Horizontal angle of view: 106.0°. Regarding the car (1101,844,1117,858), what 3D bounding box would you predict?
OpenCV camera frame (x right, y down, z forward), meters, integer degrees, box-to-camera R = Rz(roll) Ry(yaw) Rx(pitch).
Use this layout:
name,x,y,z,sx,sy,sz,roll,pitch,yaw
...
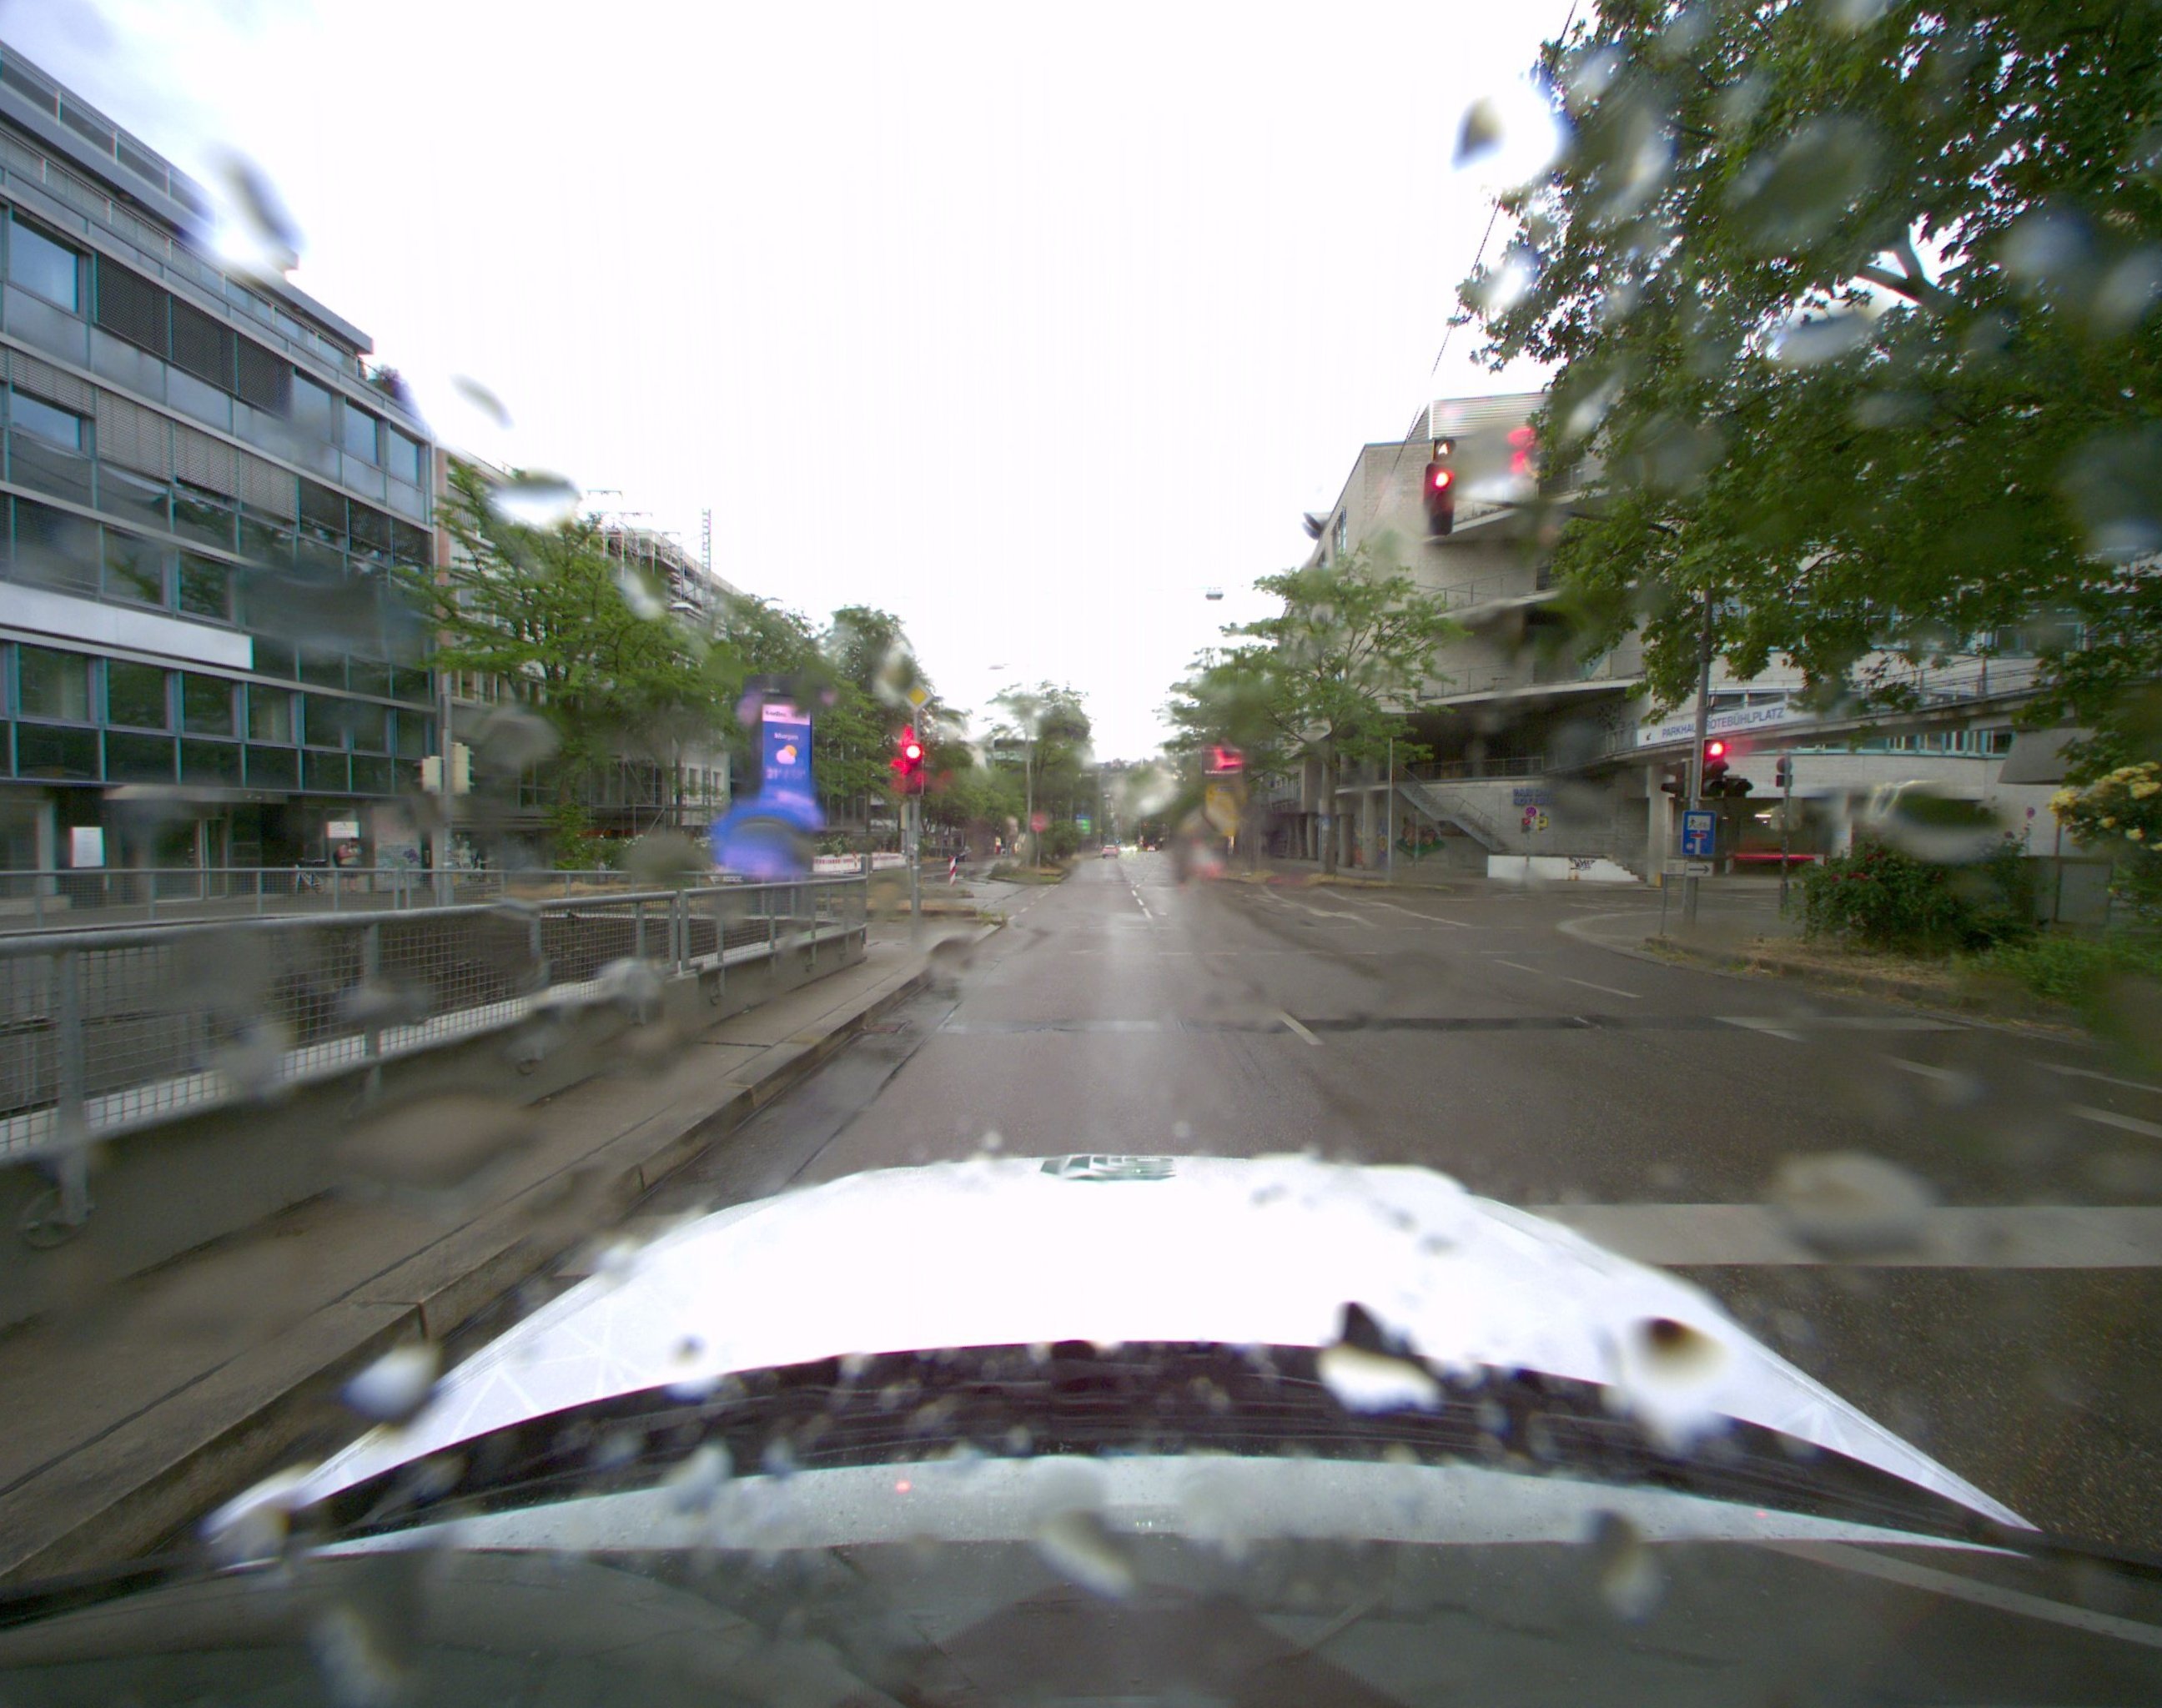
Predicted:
name,x,y,z,sx,sy,sz,roll,pitch,yaw
car,3.436,-0.390,101.730,1.823,1.640,4.300,1,0,0

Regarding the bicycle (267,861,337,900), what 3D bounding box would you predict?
name,x,y,z,sx,sy,sz,roll,pitch,yaw
bicycle,-22.954,0.763,24.038,0.444,1.085,1.567,0,0,6

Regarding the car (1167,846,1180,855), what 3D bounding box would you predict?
name,x,y,z,sx,sy,sz,roll,pitch,yaw
car,17.641,-0.636,155.552,1.986,1.723,4.001,0,-1,1

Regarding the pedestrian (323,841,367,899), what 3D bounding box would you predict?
name,x,y,z,sx,sy,sz,roll,pitch,yaw
pedestrian,-22.808,0.487,25.238,0.694,1.741,0.694,1,0,-4

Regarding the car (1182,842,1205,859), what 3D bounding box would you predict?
name,x,y,z,sx,sy,sz,roll,pitch,yaw
car,11.539,-0.344,83.343,2.324,1.691,4.010,0,0,9

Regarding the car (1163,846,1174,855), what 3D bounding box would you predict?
name,x,y,z,sx,sy,sz,roll,pitch,yaw
car,17.869,-0.655,166.639,1.986,1.736,4.001,0,-1,2

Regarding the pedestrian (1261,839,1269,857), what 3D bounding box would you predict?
name,x,y,z,sx,sy,sz,roll,pitch,yaw
pedestrian,19.217,-0.620,85.230,0.770,1.920,0.705,-1,-1,11

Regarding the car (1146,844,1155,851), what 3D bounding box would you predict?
name,x,y,z,sx,sy,sz,roll,pitch,yaw
car,18.580,-1.699,218.257,1.989,1.758,3.995,1,0,-4
